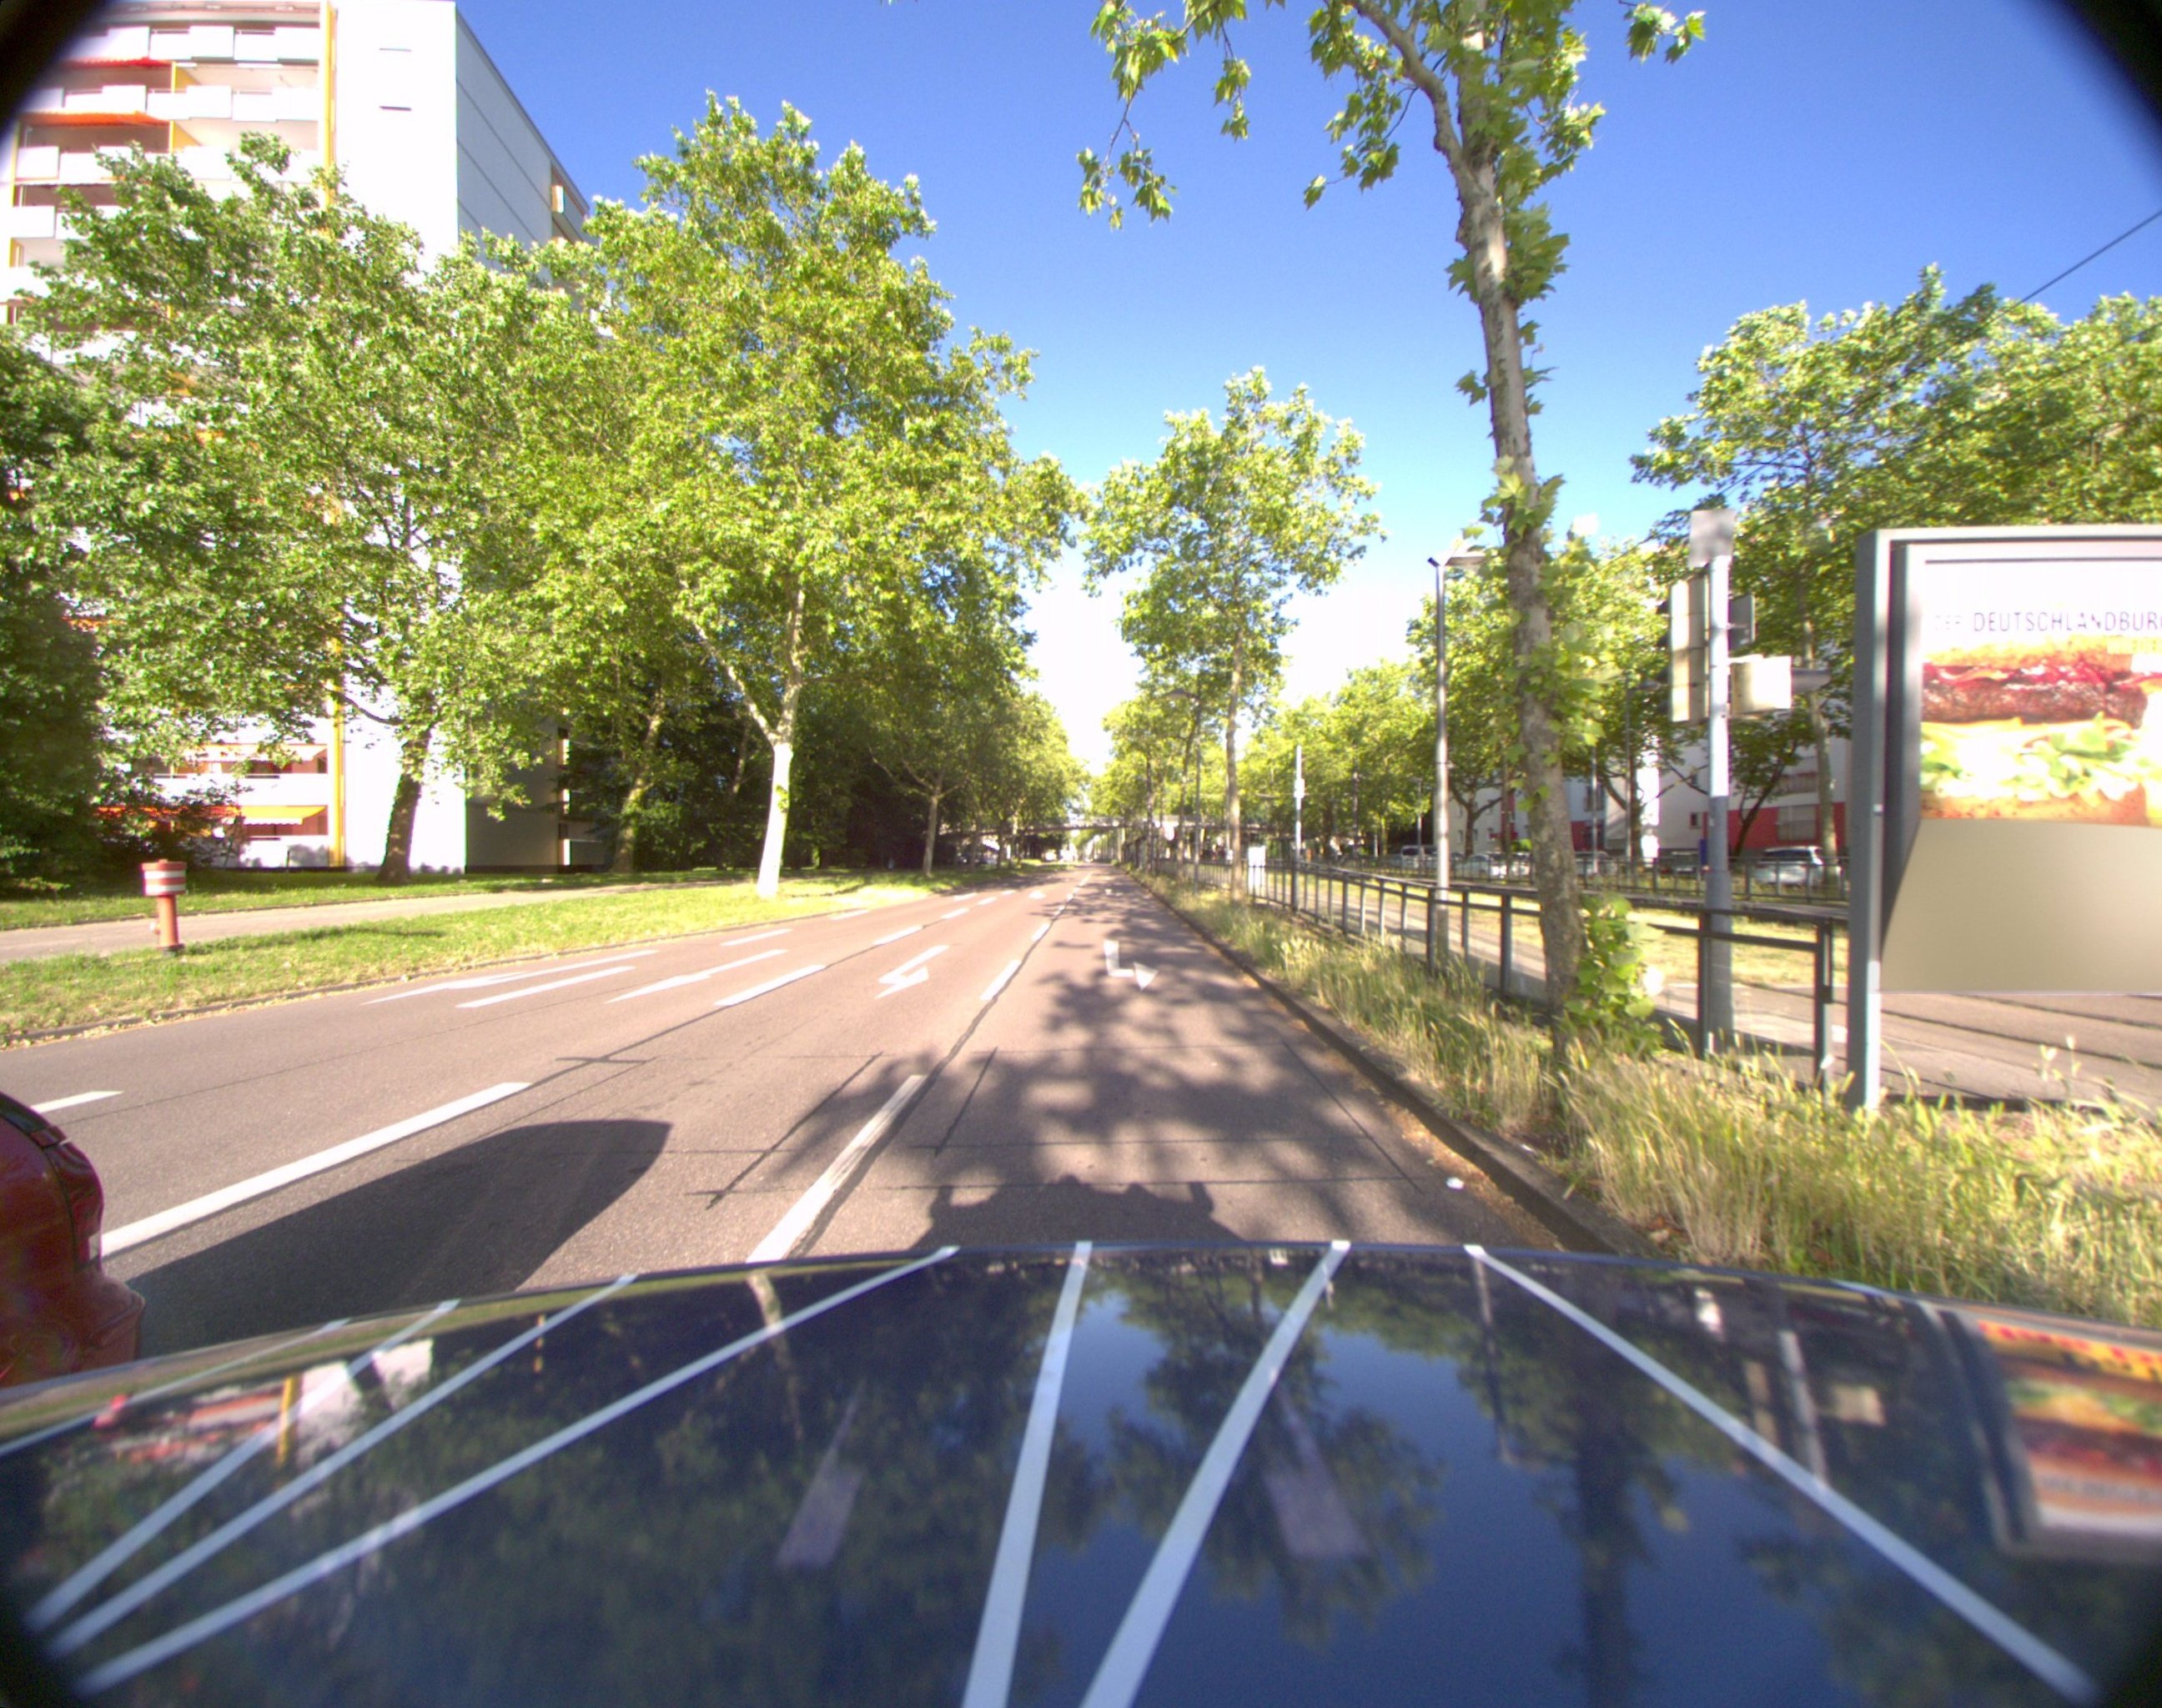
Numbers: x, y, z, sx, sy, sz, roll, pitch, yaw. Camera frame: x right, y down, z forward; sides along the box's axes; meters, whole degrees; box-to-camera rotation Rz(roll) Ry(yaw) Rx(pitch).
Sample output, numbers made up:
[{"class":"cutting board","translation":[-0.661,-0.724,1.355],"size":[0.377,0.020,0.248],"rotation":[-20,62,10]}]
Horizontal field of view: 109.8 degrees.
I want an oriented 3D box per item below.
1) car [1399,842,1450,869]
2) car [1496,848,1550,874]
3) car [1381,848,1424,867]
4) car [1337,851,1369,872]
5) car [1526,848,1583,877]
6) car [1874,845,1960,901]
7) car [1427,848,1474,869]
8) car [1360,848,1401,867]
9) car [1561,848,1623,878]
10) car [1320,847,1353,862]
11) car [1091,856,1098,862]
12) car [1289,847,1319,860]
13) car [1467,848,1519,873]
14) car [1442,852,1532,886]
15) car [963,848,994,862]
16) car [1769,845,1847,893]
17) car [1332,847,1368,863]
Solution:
[{"class":"car","translation":[25.824,0.084,57.024],"size":[4.330,1.863,1.836],"rotation":[-2,0,-42]},{"class":"car","translation":[26.104,0.402,44.859],"size":[3.811,1.433,1.652],"rotation":[-2,0,-42]},{"class":"car","translation":[25.736,0.264,60.747],"size":[3.811,1.433,1.652],"rotation":[-2,0,-42]},{"class":"car","translation":[21.180,0.559,59.221],"size":[1.579,1.548,2.817],"rotation":[-2,0,3]},{"class":"car","translation":[25.869,0.439,41.473],"size":[3.811,1.433,1.652],"rotation":[-2,0,-42]},{"class":"car","translation":[25.249,0.521,22.961],"size":[3.811,1.501,1.652],"rotation":[-2,0,-42]},{"class":"car","translation":[26.308,0.305,54.027],"size":[3.811,1.433,1.652],"rotation":[-2,0,-42]},{"class":"car","translation":[24.950,0.267,63.204],"size":[3.811,1.433,1.652],"rotation":[-2,0,-42]},{"class":"car","translation":[25.388,0.444,37.692],"size":[3.811,1.348,1.652],"rotation":[-2,0,-42]},{"class":"car","translation":[26.793,0.040,79.620],"size":[3.811,1.433,1.652],"rotation":[-2,0,-42]},{"class":"car","translation":[3.188,1.319,186.153],"size":[1.580,1.395,3.638],"rotation":[-2,0,0]},{"class":"car","translation":[26.446,-0.054,89.969],"size":[3.811,1.433,1.652],"rotation":[-2,0,-42]},{"class":"car","translation":[25.857,0.393,47.673],"size":[3.811,1.433,1.652],"rotation":[-2,0,-42]},{"class":"car","translation":[19.692,0.673,37.098],"size":[1.656,1.501,4.641],"rotation":[-2,0,-4]},{"class":"car","translation":[-16.047,0.143,118.531],"size":[4.720,1.924,1.906],"rotation":[-2,0,-8]},{"class":"car","translation":[25.362,0.486,26.470],"size":[3.811,1.501,1.652],"rotation":[-2,0,-42]},{"class":"car","translation":[26.073,0.128,73.559],"size":[3.811,1.433,1.652],"rotation":[-2,0,-42]}]
